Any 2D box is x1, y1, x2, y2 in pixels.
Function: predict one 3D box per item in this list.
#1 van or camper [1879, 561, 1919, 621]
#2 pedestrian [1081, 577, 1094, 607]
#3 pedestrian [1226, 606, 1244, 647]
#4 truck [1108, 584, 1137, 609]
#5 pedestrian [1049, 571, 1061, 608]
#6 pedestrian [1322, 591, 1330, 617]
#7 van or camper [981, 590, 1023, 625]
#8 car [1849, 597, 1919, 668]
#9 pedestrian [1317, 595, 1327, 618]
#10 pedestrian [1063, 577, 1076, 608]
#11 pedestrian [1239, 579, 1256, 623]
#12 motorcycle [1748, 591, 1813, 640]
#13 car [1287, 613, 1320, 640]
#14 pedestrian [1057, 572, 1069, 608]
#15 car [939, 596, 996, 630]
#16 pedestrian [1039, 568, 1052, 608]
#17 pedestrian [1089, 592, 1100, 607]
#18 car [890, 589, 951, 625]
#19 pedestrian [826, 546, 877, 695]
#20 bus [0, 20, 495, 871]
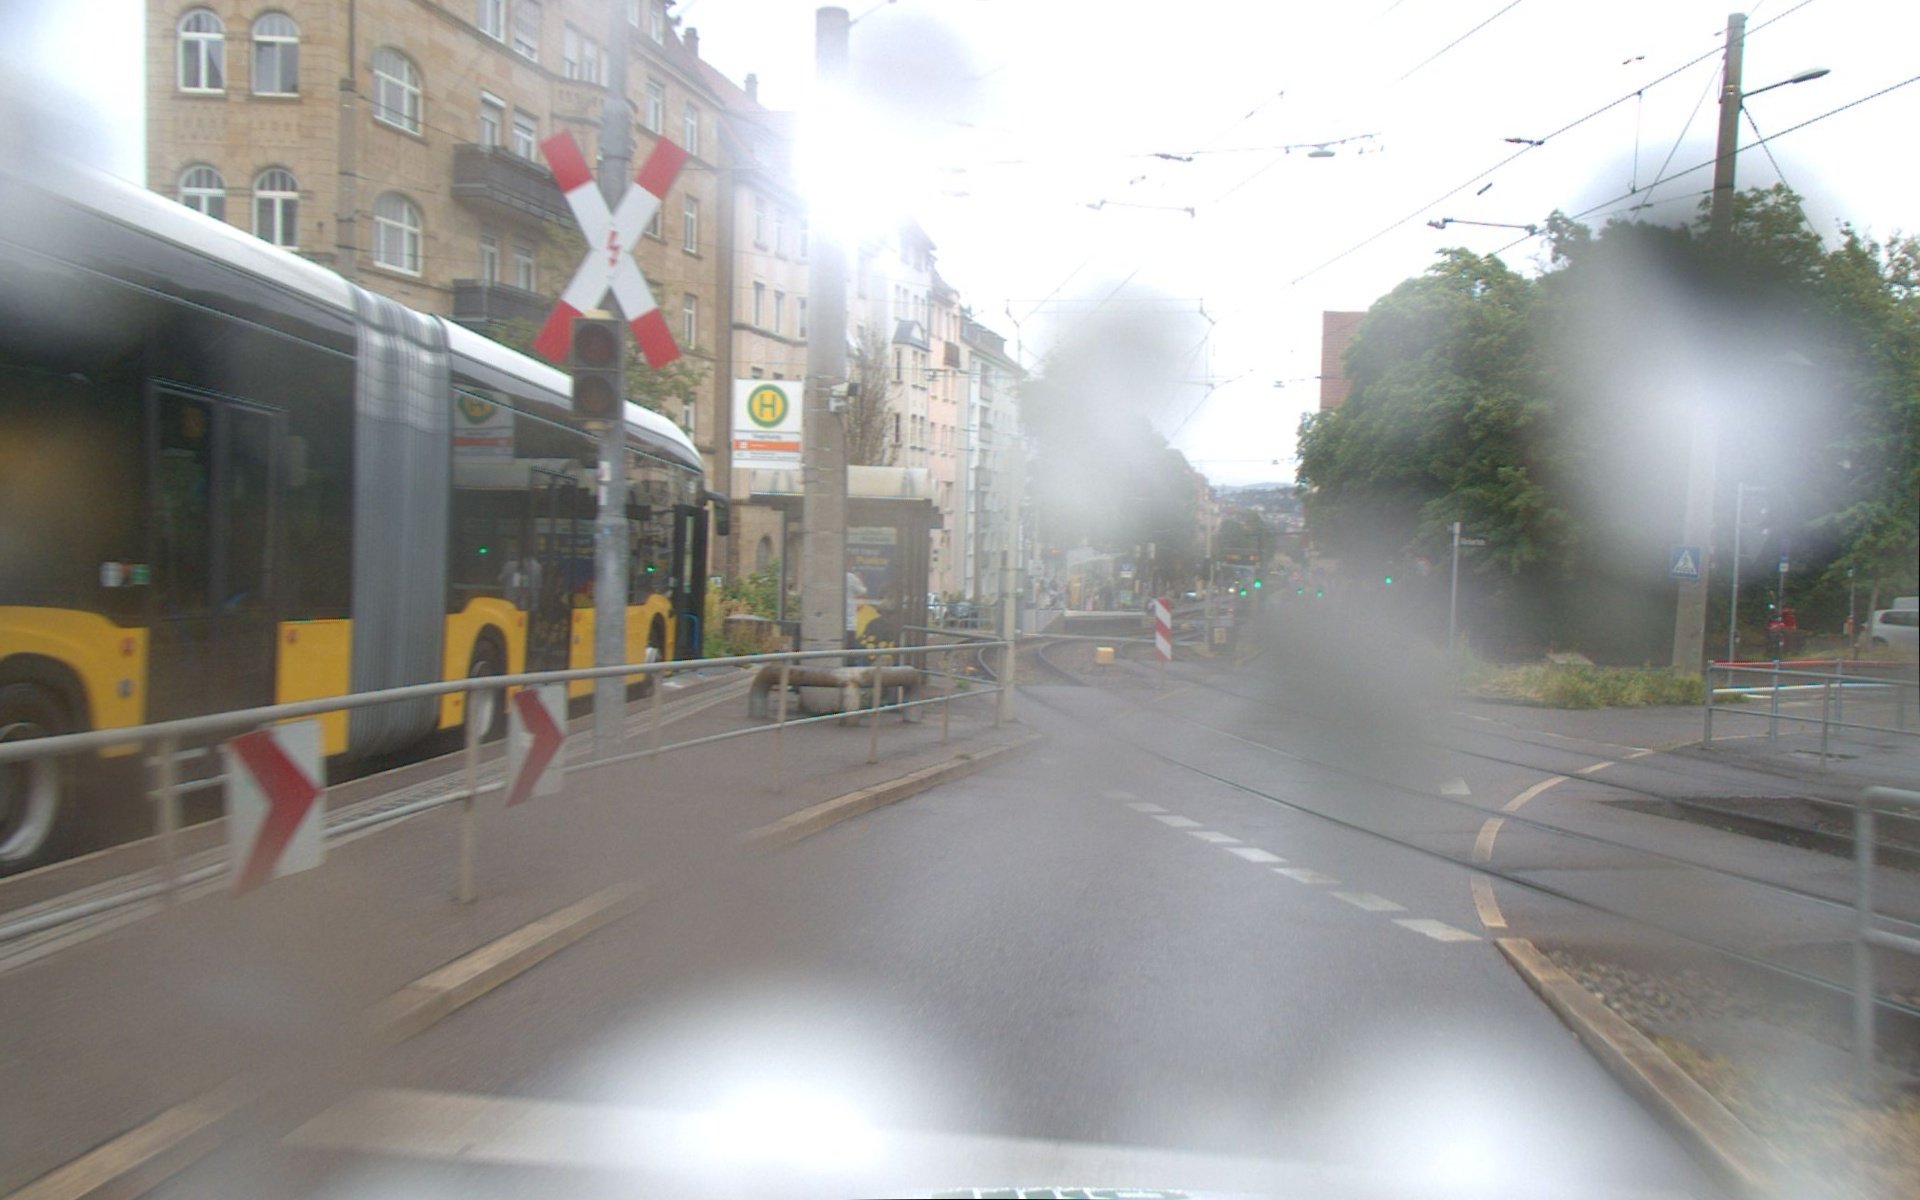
[{"bbox_3d":[31.106,-0.309,50.389,1.976,1.866,5.119,0,-1,-34],"label":"van or camper"},{"bbox_3d":[7.186,-0.462,93.181,0.581,1.695,0.762,-1,-1,11],"label":"pedestrian"},{"bbox_3d":[10.724,1.036,64.426,0.636,1.589,0.684,1,0,12],"label":"pedestrian"},{"bbox_3d":[16.366,-0.352,166.468,2.007,2.435,6.326,0,0,14],"label":"truck"},{"bbox_3d":[4.810,-0.548,83.958,0.505,1.870,0.762,-1,-1,11],"label":"pedestrian"},{"bbox_3d":[26.948,0.297,121.767,0.542,1.845,0.651,1,0,9],"label":"pedestrian"},{"bbox_3d":[2.582,0.444,100.139,1.951,2.049,4.004,0,0,11],"label":"van or camper"},{"bbox_3d":[28.948,0.998,48.715,1.981,2.049,4.445,2,0,-39],"label":"car"},{"bbox_3d":[26.510,0.481,121.212,0.680,1.724,0.556,1,0,10],"label":"pedestrian"},{"bbox_3d":[5.953,-0.412,89.932,0.581,1.695,0.762,-1,-1,11],"label":"pedestrian"},{"bbox_3d":[11.999,0.057,69.058,0.636,1.815,0.848,1,0,12],"label":"pedestrian"},{"bbox_3d":[25.197,0.479,50.761,2.407,1.398,0.813,2,4,-41],"label":"motorcycle"},{"bbox_3d":[20.639,1.556,99.441,1.812,1.499,4.004,0,1,10],"label":"car"},{"bbox_3d":[5.454,-0.520,87.443,0.505,1.870,0.762,-1,-1,11],"label":"pedestrian"},{"bbox_3d":[0.441,0.708,88.086,1.951,1.762,4.817,0,-1,14],"label":"car"},{"bbox_3d":[4.086,-0.557,79.126,0.549,1.882,0.599,-1,-1,11],"label":"pedestrian"},{"bbox_3d":[7.958,-0.041,97.752,0.538,0.887,0.614,-1,-1,11],"label":"pedestrian"},{"bbox_3d":[-1.869,0.312,79.326,1.882,1.651,4.539,0,0,13],"label":"car"},{"bbox_3d":[-1.316,0.245,20.072,0.564,1.783,0.543,0,-1,0],"label":"pedestrian"},{"bbox_3d":[-5.164,-0.639,8.359,2.536,3.530,9.111,0,0,3],"label":"bus"}]
